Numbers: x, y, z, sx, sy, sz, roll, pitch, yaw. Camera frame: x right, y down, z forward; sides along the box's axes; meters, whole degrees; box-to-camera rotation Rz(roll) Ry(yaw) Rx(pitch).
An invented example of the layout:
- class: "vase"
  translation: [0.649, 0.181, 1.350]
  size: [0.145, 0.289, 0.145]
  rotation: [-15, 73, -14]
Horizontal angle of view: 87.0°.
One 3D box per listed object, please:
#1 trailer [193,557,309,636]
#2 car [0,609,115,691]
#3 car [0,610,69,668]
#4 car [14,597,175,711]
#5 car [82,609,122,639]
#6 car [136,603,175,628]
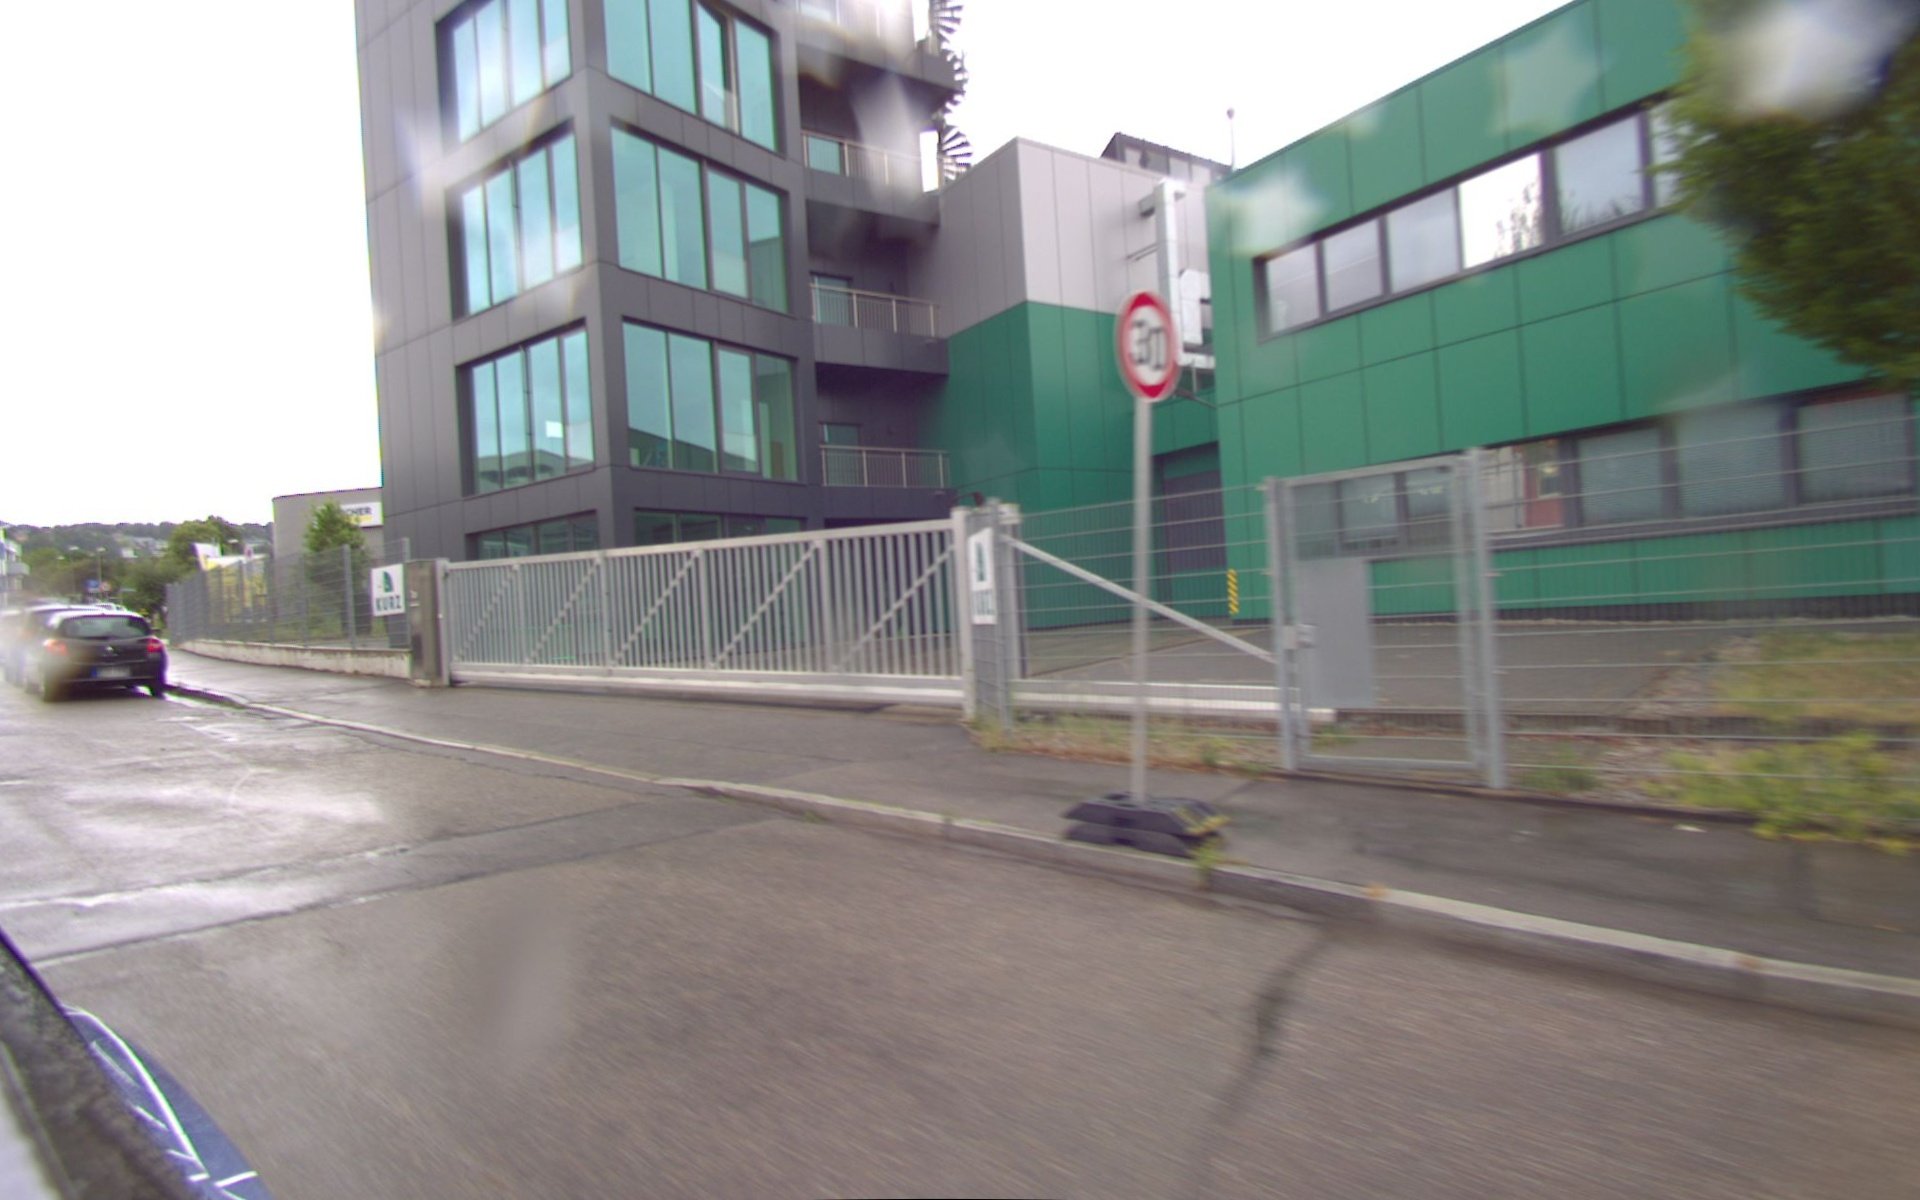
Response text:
- class: "trailer"
  translation: [-38.444, -0.187, 54.943]
  size: [4.638, 4.120, 2.387]
  rotation: [-1, 0, 3]
- class: "car"
  translation: [-19.406, 1.012, 21.617]
  size: [4.084, 1.570, 1.614]
  rotation: [-1, -1, 43]
- class: "car"
  translation: [-27.460, 1.108, 29.628]
  size: [4.251, 1.547, 1.715]
  rotation: [-2, 0, 44]
- class: "car"
  translation: [-15.621, 0.896, 18.209]
  size: [3.958, 1.811, 1.721]
  rotation: [-1, 0, 42]
- class: "car"
  translation: [-57.189, 1.595, 67.444]
  size: [1.969, 1.928, 4.005]
  rotation: [0, -1, -41]
- class: "car"
  translation: [-67.897, 1.303, 85.456]
  size: [1.966, 2.029, 4.012]
  rotation: [-1, 0, -30]
